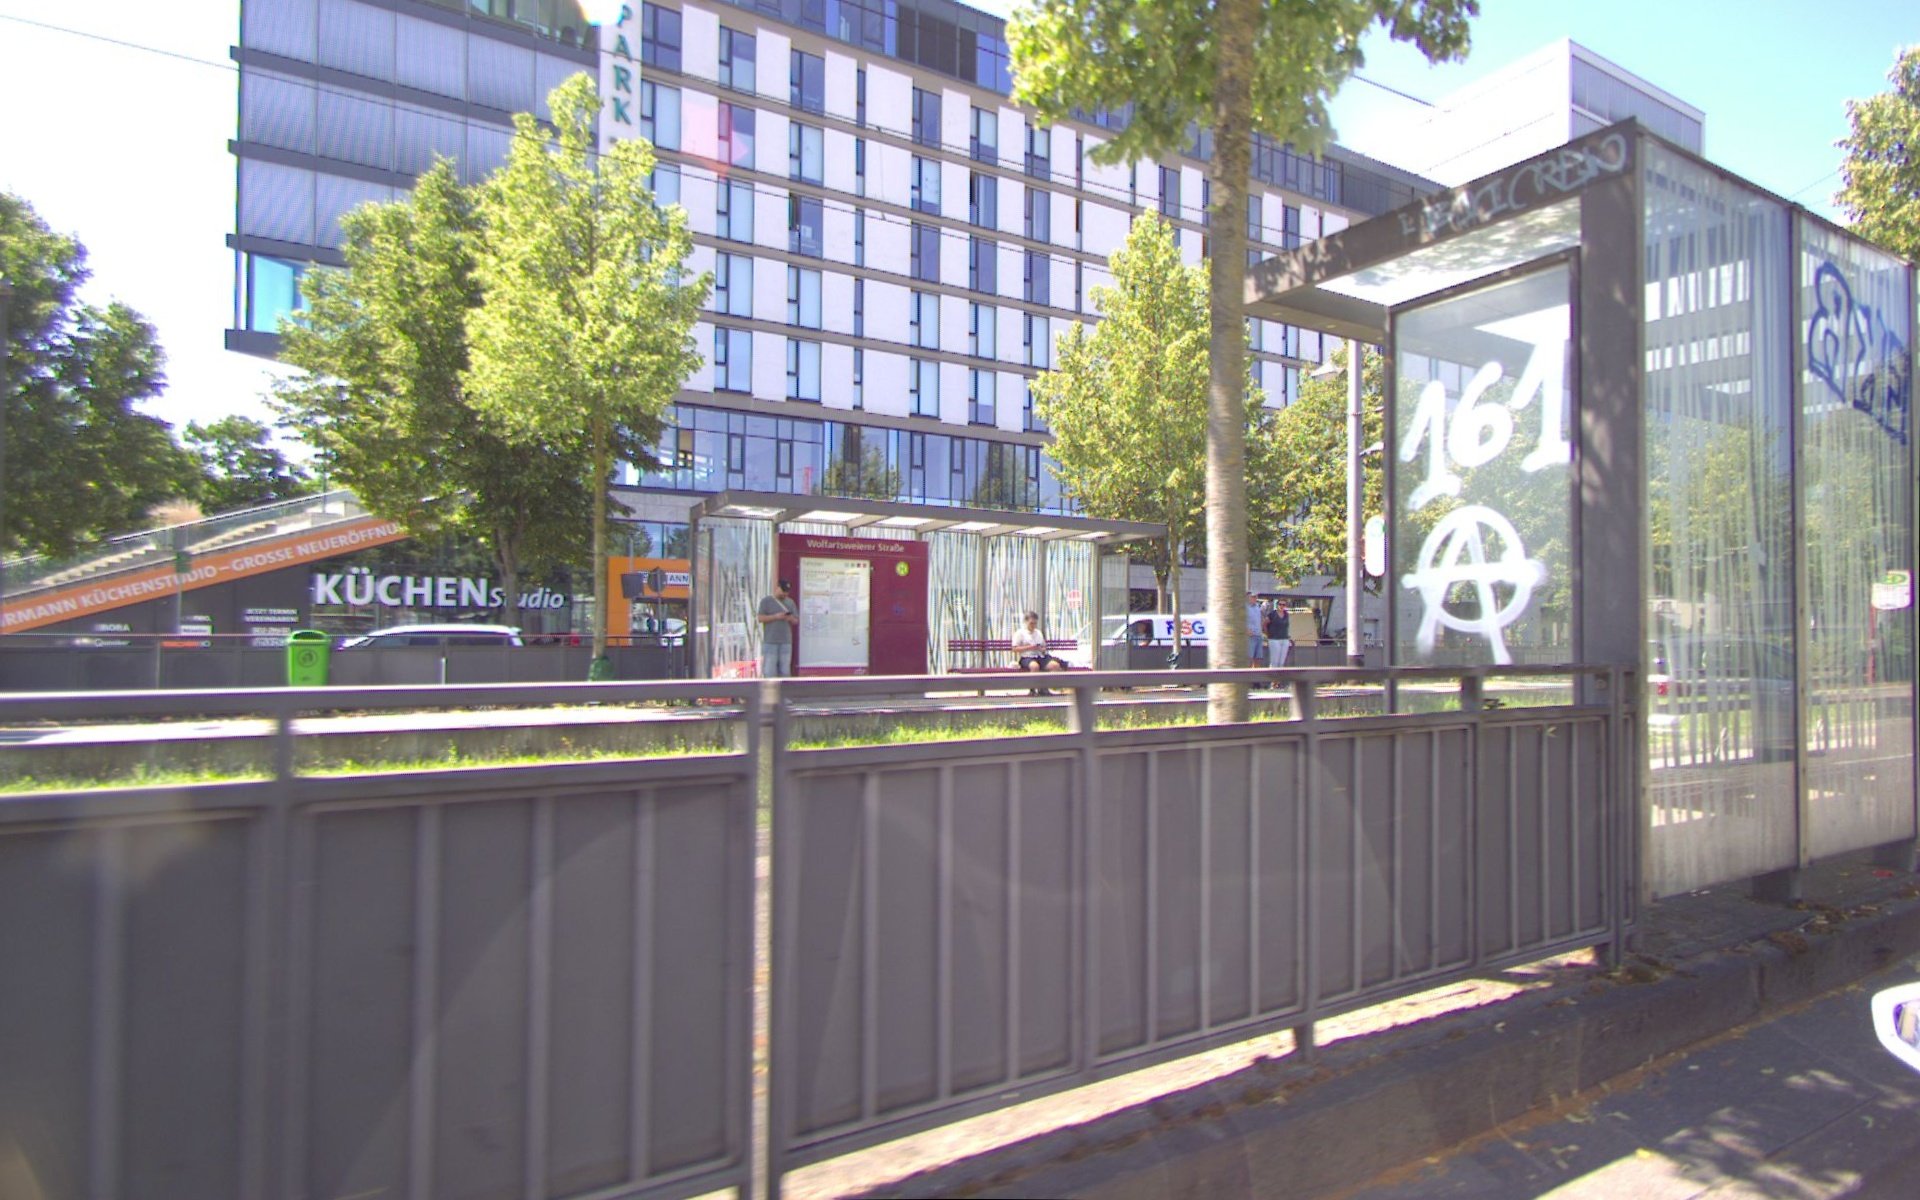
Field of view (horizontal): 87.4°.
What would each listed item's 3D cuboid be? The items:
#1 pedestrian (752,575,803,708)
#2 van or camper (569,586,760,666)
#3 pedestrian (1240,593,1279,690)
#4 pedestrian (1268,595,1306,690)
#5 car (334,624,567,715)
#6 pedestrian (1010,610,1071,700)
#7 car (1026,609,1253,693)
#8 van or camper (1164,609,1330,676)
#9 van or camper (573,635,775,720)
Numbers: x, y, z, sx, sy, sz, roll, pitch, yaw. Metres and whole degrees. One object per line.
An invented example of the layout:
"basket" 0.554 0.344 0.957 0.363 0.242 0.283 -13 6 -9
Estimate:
"pedestrian" -2.483 0.558 13.698 0.458 1.762 0.477 0 -2 31
"van or camper" -11.401 1.088 39.084 6.714 2.859 2.362 2 -2 -33
"pedestrian" 5.553 0.766 18.641 0.580 1.775 0.407 2 -2 -33
"pedestrian" 6.174 0.801 18.977 0.580 1.775 0.407 2 -2 -33
"car" -9.915 1.337 19.722 3.914 1.637 1.563 2 -2 -30
"pedestrian" 1.314 0.888 16.448 0.635 1.431 0.830 2 -2 -30
"car" 4.350 1.214 24.169 5.012 1.829 2.450 2 -2 -31
"van or camper" 11.193 1.671 38.935 6.692 2.417 2.167 2 -2 -30
"van or camper" -5.373 1.418 18.951 3.388 1.446 1.469 2 -2 -30
